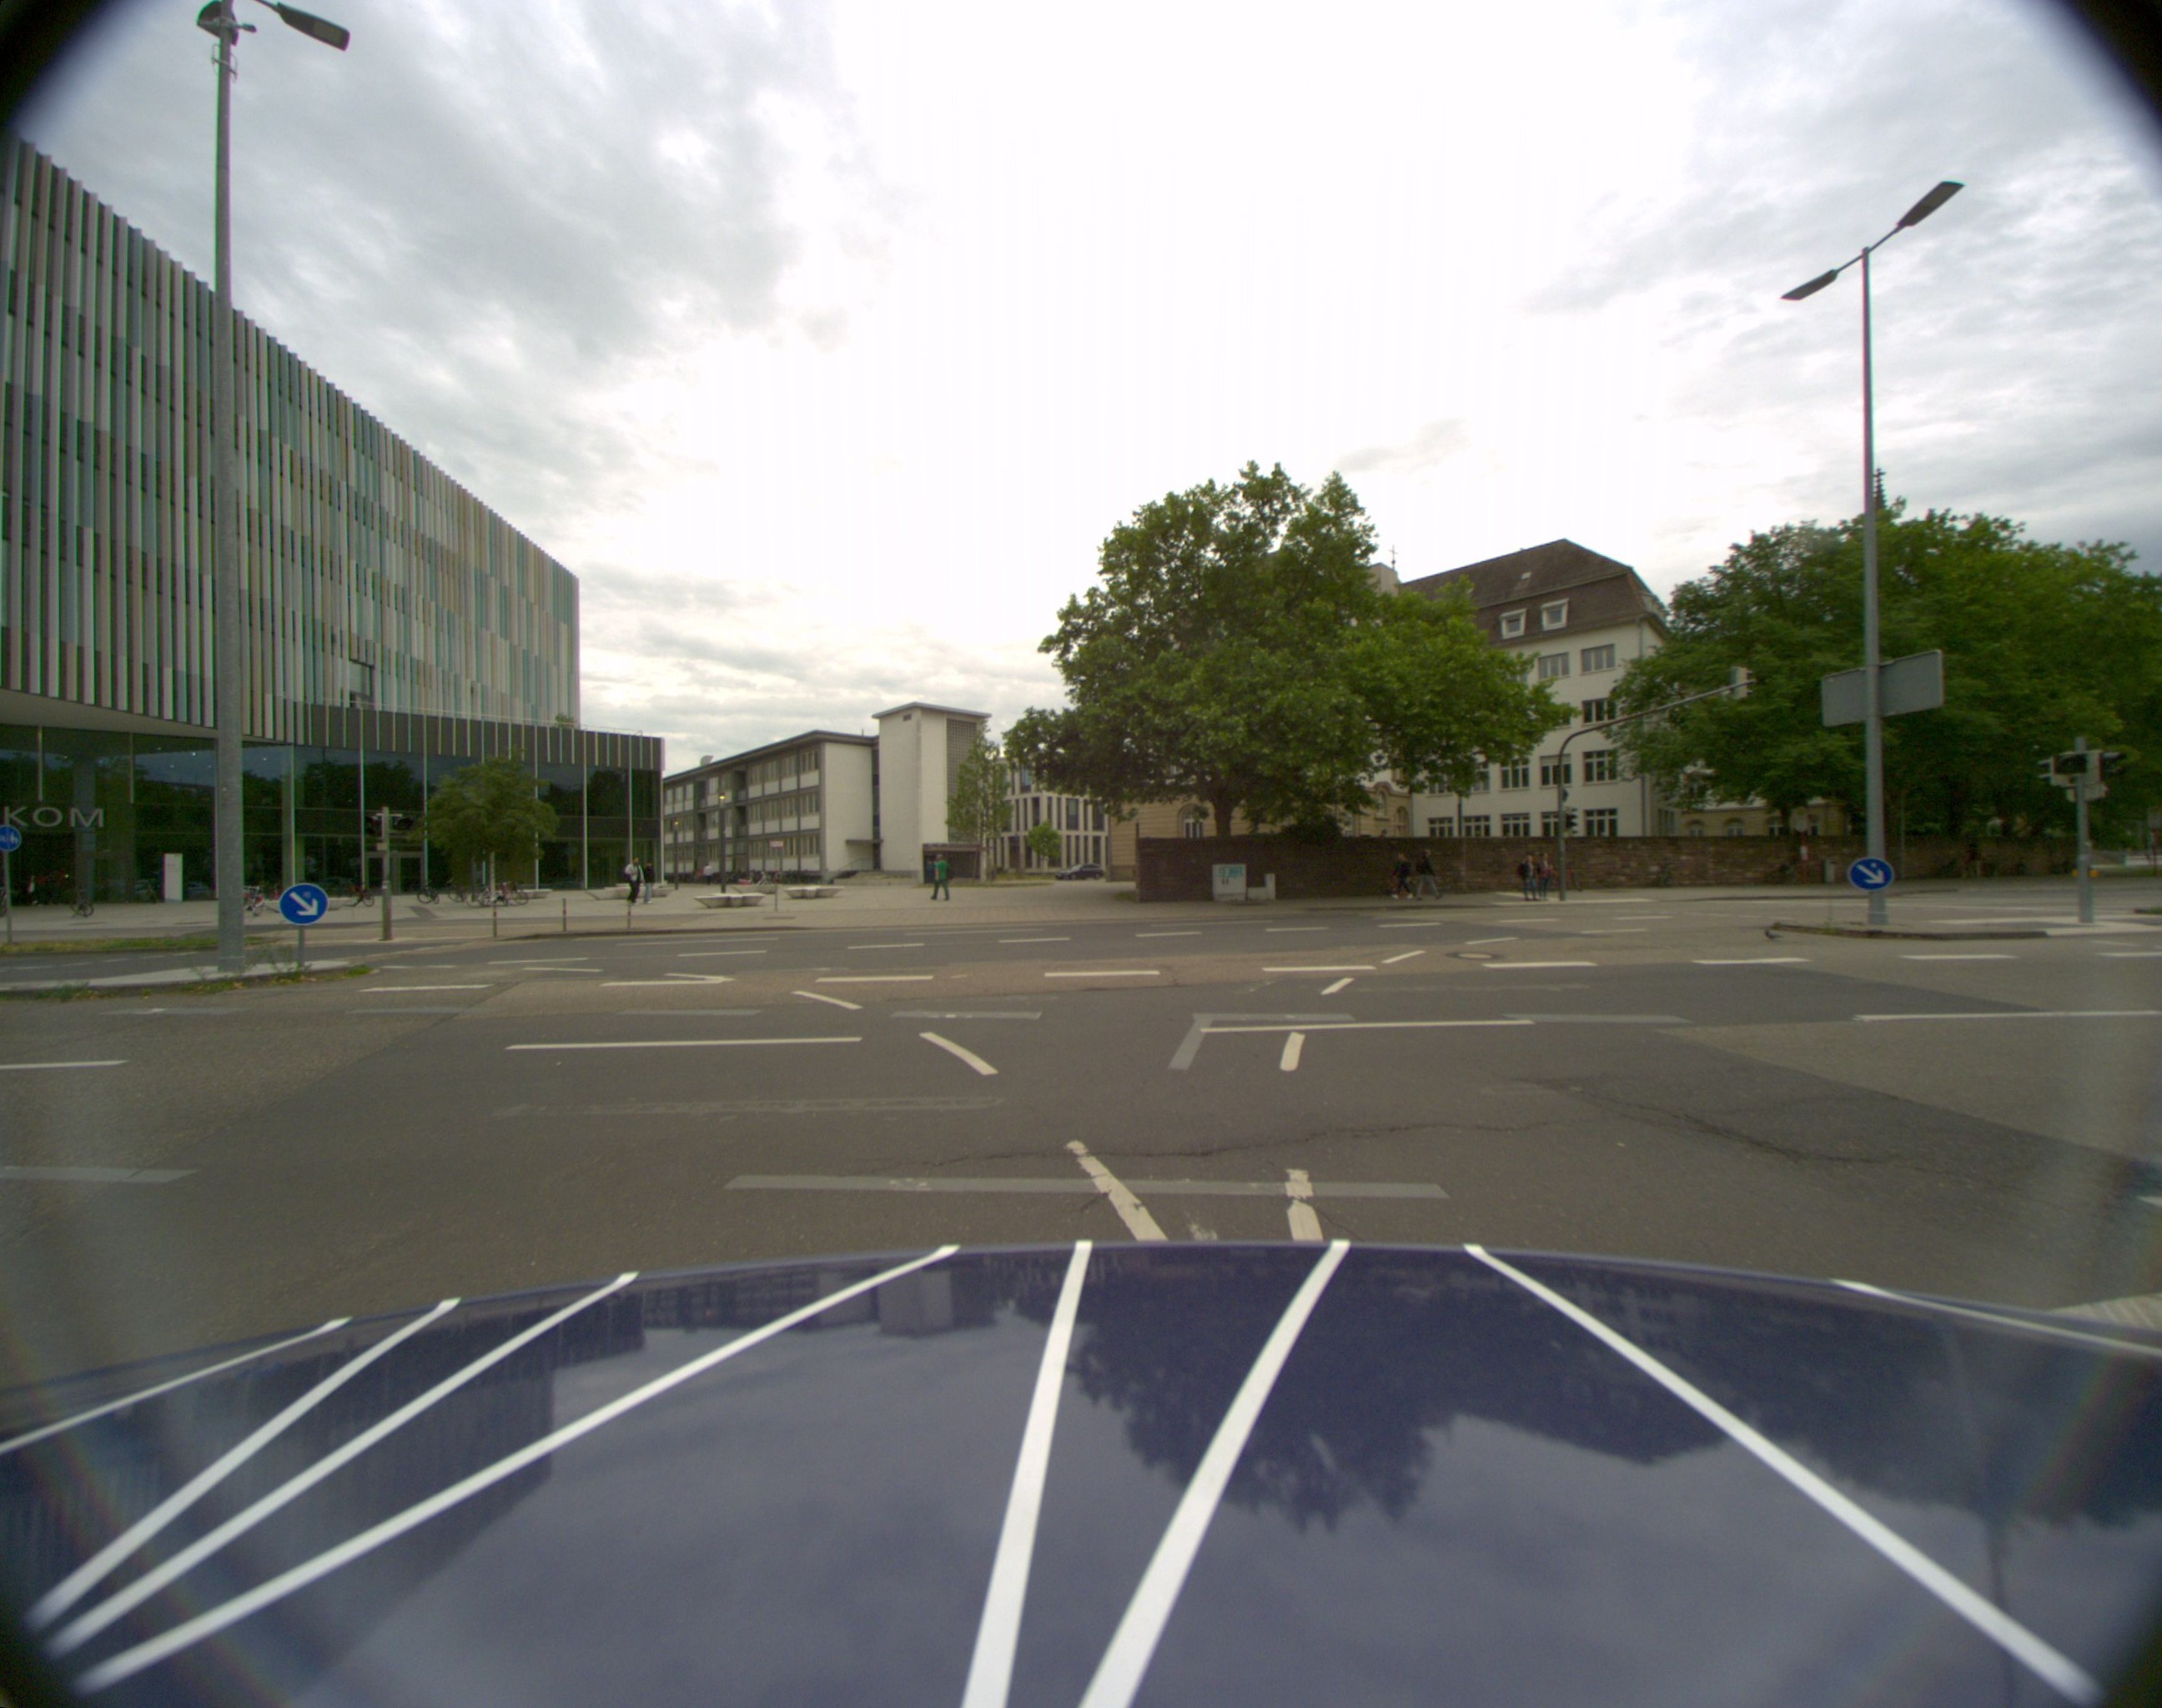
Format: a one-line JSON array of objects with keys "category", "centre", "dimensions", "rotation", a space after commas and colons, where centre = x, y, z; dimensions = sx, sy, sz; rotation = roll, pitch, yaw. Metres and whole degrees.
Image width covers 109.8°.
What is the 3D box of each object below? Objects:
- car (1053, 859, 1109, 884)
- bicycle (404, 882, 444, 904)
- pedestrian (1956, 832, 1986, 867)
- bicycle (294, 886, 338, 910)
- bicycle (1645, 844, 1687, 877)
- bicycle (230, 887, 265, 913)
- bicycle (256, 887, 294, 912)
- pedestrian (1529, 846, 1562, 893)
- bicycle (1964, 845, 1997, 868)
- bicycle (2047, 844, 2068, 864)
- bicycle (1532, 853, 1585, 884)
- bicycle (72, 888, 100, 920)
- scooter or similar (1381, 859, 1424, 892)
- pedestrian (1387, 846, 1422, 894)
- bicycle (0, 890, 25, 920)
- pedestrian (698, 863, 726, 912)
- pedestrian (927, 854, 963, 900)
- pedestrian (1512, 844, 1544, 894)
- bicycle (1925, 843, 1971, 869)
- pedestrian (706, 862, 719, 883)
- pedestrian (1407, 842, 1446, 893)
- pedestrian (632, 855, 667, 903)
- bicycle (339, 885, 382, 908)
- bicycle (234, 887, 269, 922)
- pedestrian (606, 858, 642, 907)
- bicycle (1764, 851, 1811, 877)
[{"category": "car", "centre": [0.017, 1.500, 64.714], "dimensions": [4.411, 1.570, 1.997], "rotation": [-2, -10, -44]}, {"category": "bicycle", "centre": [-29.564, 1.755, 34.184], "dimensions": [2.005, 0.930, 0.484], "rotation": [-1, 1, 21]}, {"category": "pedestrian", "centre": [44.534, -0.231, 38.010], "dimensions": [0.774, 1.749, 0.789], "rotation": [-1, 1, -23]}, {"category": "bicycle", "centre": [-31.302, 1.785, 31.094], "dimensions": [2.005, 0.930, 0.484], "rotation": [-1, 1, 21]}, {"category": "bicycle", "centre": [25.538, 0.290, 33.165], "dimensions": [2.590, 1.372, 0.668], "rotation": [2, -2, -34]}, {"category": "bicycle", "centre": [-32.756, 1.795, 29.850], "dimensions": [2.004, 0.930, 0.485], "rotation": [-1, 1, 29]}, {"category": "bicycle", "centre": [-32.335, 1.802, 30.462], "dimensions": [2.004, 0.930, 0.549], "rotation": [-1, 1, 29]}, {"category": "pedestrian", "centre": [16.713, 0.543, 27.358], "dimensions": [0.643, 1.684, 0.778], "rotation": [-1, 1, -11]}, {"category": "bicycle", "centre": [47.823, 0.123, 40.395], "dimensions": [2.250, 1.141, 0.507], "rotation": [-1, 2, -23]}, {"category": "bicycle", "centre": [59.482, -0.006, 46.255], "dimensions": [2.251, 1.141, 0.506], "rotation": [-1, 2, -31]}, {"category": "bicycle", "centre": [19.359, 0.578, 30.794], "dimensions": [2.158, 1.178, 0.582], "rotation": [-1, 2, -19]}, {"category": "bicycle", "centre": [-35.537, 1.772, 27.147], "dimensions": [1.911, 1.039, 0.485], "rotation": [-1, 1, 40]}, {"category": "scooter or similar", "centre": [12.338, 0.839, 29.183], "dimensions": [1.411, 1.223, 0.495], "rotation": [-1, 2, 8]}, {"category": "pedestrian", "centre": [12.007, 0.578, 28.209], "dimensions": [0.809, 1.657, 0.789], "rotation": [-1, 7, -10]}, {"category": "bicycle", "centre": [-38.605, 1.826, 27.378], "dimensions": [1.911, 1.039, 0.485], "rotation": [-1, 0, 40]}, {"category": "pedestrian", "centre": [-12.891, 1.166, 26.544], "dimensions": [0.623, 1.656, 0.619], "rotation": [-2, 0, 39]}, {"category": "pedestrian", "centre": [-5.307, 0.899, 29.673], "dimensions": [0.904, 1.704, 0.953], "rotation": [-3, -2, 26]}, {"category": "pedestrian", "centre": [16.003, 0.523, 27.232], "dimensions": [0.671, 1.729, 0.734], "rotation": [-1, 1, -13]}, {"category": "bicycle", "centre": [44.299, 0.099, 38.818], "dimensions": [2.545, 1.258, 0.664], "rotation": [-1, 2, -21]}, {"category": "pedestrian", "centre": [-31.522, 1.570, 64.952], "dimensions": [0.778, 1.778, 0.759], "rotation": [-1, 0, -44]}, {"category": "pedestrian", "centre": [12.473, 0.466, 27.417], "dimensions": [1.007, 1.779, 0.757], "rotation": [-1, 1, -12]}, {"category": "pedestrian", "centre": [-16.426, 0.948, 28.902], "dimensions": [0.892, 1.778, 0.848], "rotation": [-1, 0, 37]}, {"category": "bicycle", "centre": [-30.545, 1.798, 32.213], "dimensions": [2.005, 0.930, 0.484], "rotation": [-1, 1, 21]}, {"category": "bicycle", "centre": [-27.199, 1.636, 24.924], "dimensions": [0.485, 1.039, 1.779], "rotation": [-2, 1, -39]}, {"category": "pedestrian", "centre": [-16.955, 1.047, 28.207], "dimensions": [0.892, 1.778, 0.848], "rotation": [-1, 0, 37]}, {"category": "bicycle", "centre": [32.291, 0.440, 34.715], "dimensions": [2.158, 1.141, 0.664], "rotation": [-1, 2, -21]}]
